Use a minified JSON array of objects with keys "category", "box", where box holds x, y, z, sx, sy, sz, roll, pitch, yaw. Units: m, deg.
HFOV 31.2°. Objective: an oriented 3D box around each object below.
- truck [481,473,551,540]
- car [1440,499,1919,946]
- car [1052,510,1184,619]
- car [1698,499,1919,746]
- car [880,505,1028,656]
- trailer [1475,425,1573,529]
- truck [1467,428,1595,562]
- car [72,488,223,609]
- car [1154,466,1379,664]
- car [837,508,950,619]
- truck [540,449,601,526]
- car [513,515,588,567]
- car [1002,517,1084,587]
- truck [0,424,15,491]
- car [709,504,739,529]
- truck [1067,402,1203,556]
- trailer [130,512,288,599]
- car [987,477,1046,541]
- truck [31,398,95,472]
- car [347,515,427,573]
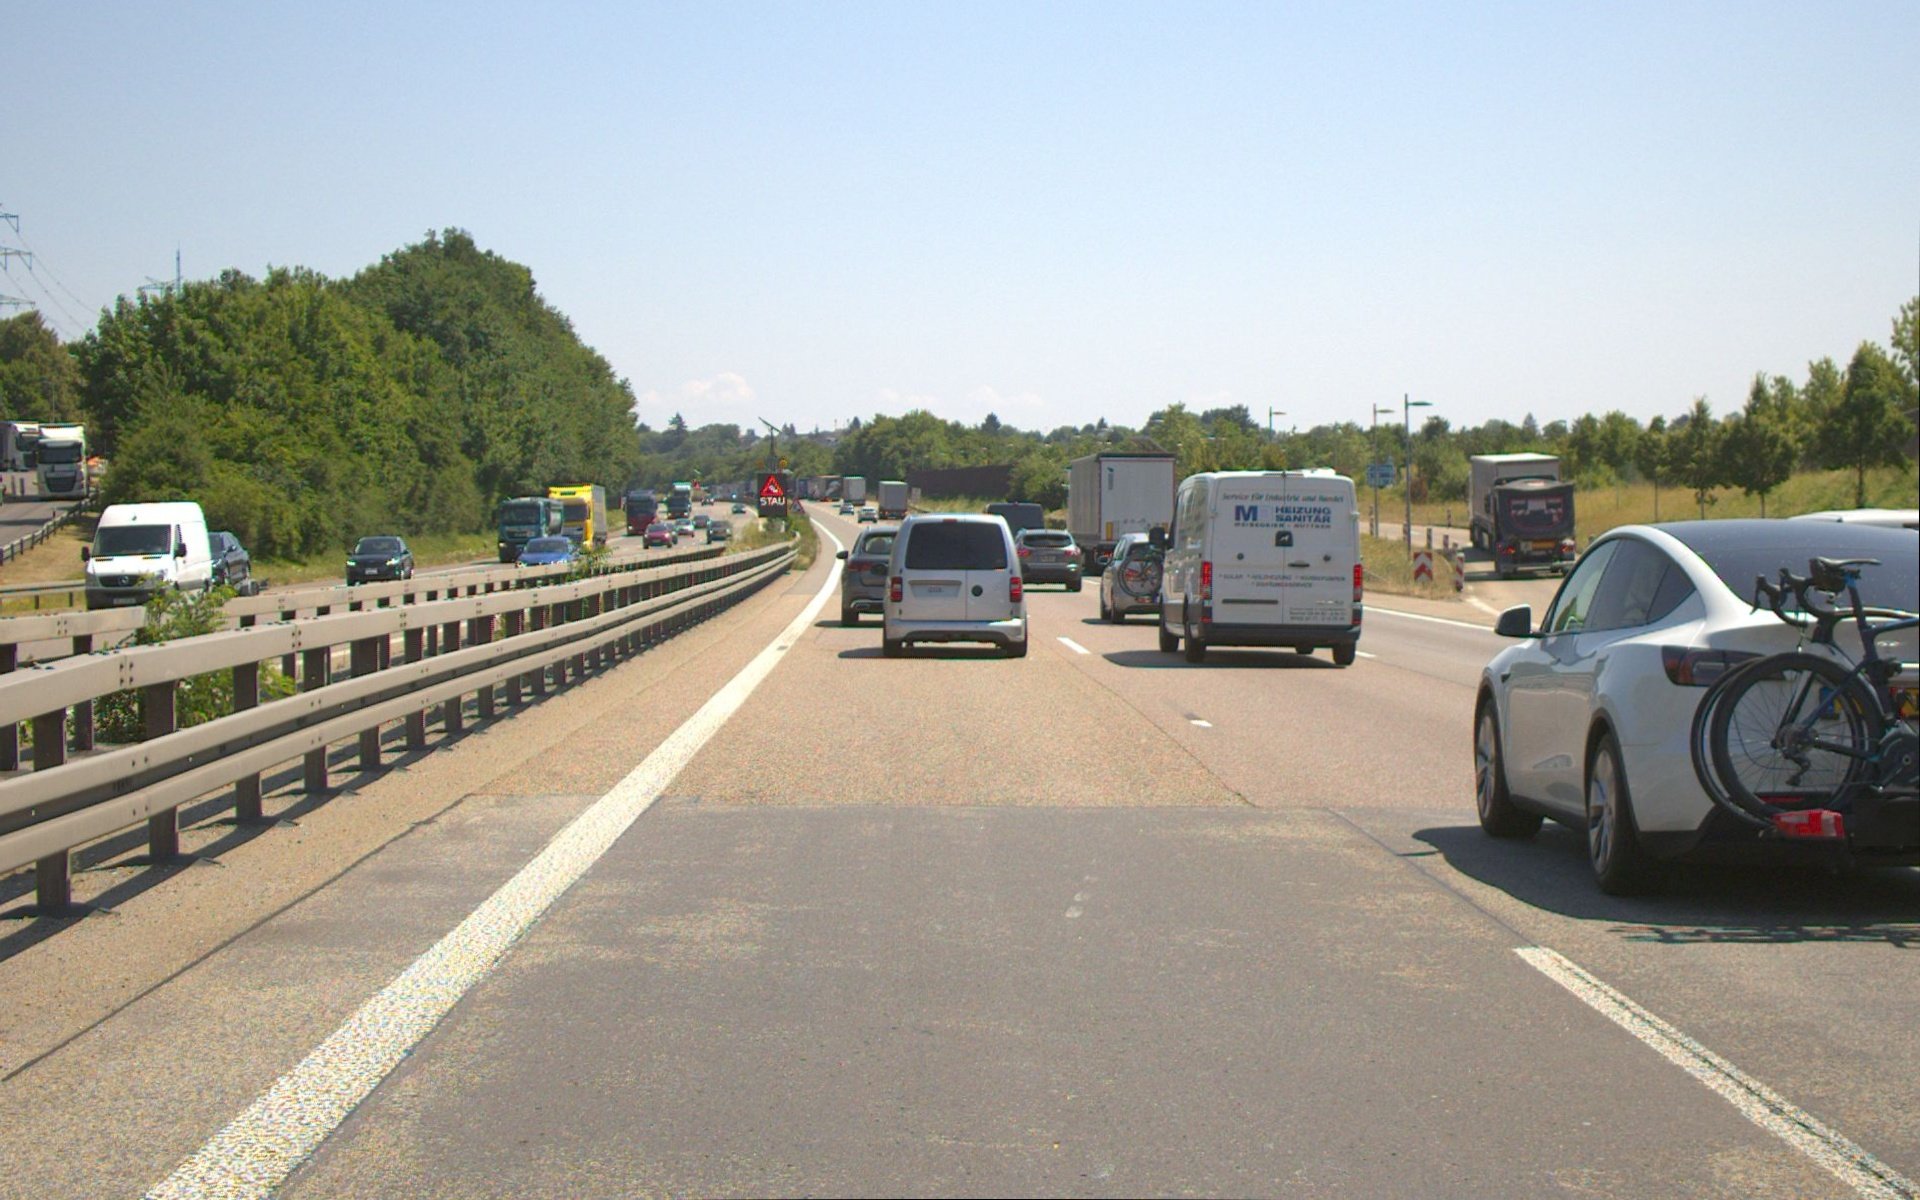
[{"category":"truck","box":[-22.447,-4.765,173.925,2.914,3.289,5.332,-1,2,-1]},{"category":"car","box":[3.598,0.383,15.592,1.950,1.630,5.601,1,2,-1]},{"category":"car","box":[2.653,-0.633,58.550,1.976,1.727,4.089,-1,2,-1]},{"category":"car","box":[7.602,0.108,28.298,1.950,1.831,4.179,-1,2,-3]},{"category":"car","box":[-0.095,-0.293,43.403,1.745,1.758,4.089,-1,2,-1]},{"category":"trailer","box":[23.460,-5.098,143.548,3.053,4.069,14.256,1,2,6]},{"category":"truck","box":[18.615,-3.401,111.668,3.790,4.069,12.514,1,2,10]},{"category":"car","box":[-18.640,-1.237,79.166,2.109,2.630,6.005,-2,2,-1]},{"category":"car","box":[3.663,-0.486,42.049,2.181,2.246,5.364,1,2,-1]},{"category":"car","box":[-1.064,-0.631,56.364,1.745,1.695,4.089,-1,2,0]},{"category":"truck","box":[-22.359,-6.454,197.515,3.174,4.326,3.514,-1,2,-3]},{"category":"car","box":[-12.696,-1.848,106.735,1.782,1.468,4.355,-2,2,0]},{"category":"car","box":[2.073,-1.234,87.312,1.901,1.666,4.089,-1,2,-1]},{"category":"truck","box":[-59.374,-8.689,210.474,2.549,3.994,11.795,1,2,-13]},{"category":"car","box":[-15.819,-5.625,230.618,1.782,1.618,4.001,-1,2,-1]},{"category":"truck","box":[5.893,-4.140,118.427,3.788,4.982,12.520,1,2,-1]},{"category":"trailer","box":[-18.629,-1.149,85.609,2.764,1.939,6.725,-2,2,-3]},{"category":"car","box":[1.712,-2.799,105.322,1.674,1.885,4.089,-1,2,-1]},{"category":"truck","box":[-49.053,-9.059,188.051,2.943,3.881,4.326,-1,4,-10]},{"category":"car","box":[-19.336,-1.913,116.165,2.157,1.793,4.514,-2,2,-3]}]
